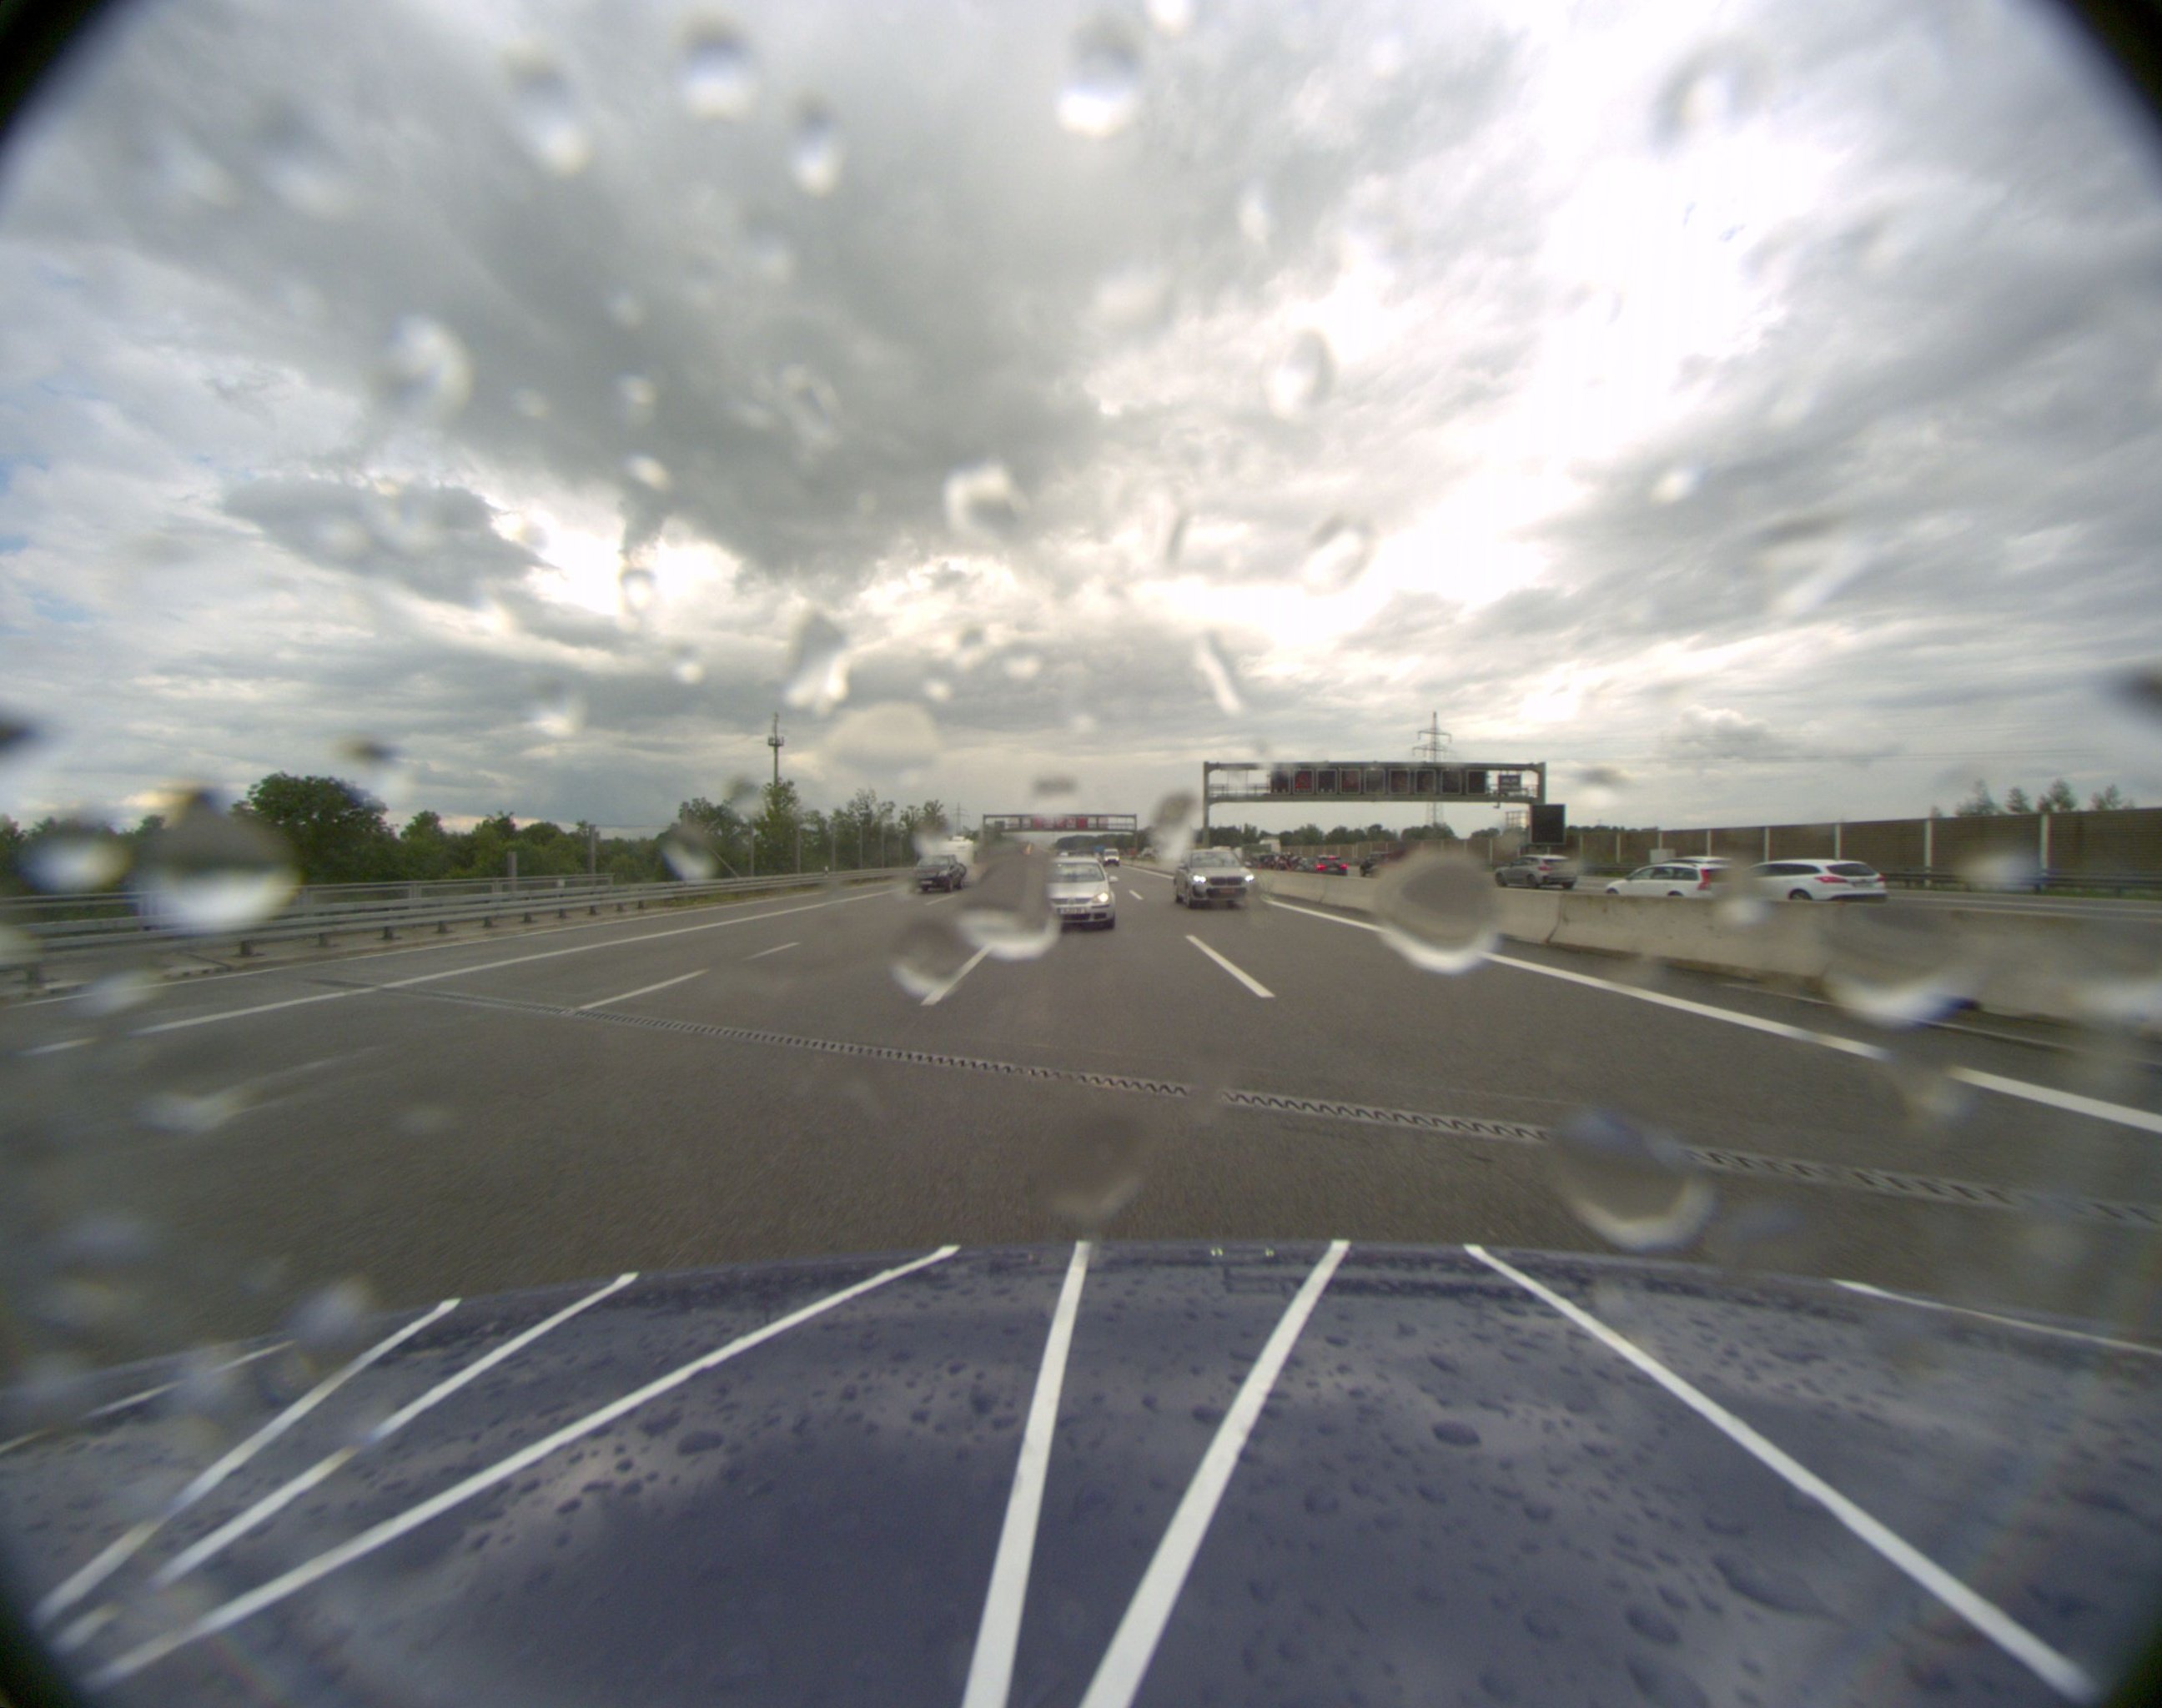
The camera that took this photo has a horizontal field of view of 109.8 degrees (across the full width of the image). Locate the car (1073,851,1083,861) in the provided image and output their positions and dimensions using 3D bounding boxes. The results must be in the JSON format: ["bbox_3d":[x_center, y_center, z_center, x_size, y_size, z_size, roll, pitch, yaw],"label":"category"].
[{"bbox_3d":[-0.636,0.511,161.108,1.999,2.002,3.999,-2,0,-1],"label":"car"}]

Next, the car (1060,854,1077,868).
[{"bbox_3d":[-1.583,0.842,96.660,1.999,1.701,3.999,-2,0,-2],"label":"car"}]

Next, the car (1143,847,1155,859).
[{"bbox_3d":[14.838,-0.195,165.738,2.141,2.338,5.711,-2,0,1],"label":"car"}]

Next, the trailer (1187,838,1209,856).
[{"bbox_3d":[26.271,-1.621,171.709,3.036,3.910,12.974,-1,0,1],"label":"trailer"}]

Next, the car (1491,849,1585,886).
[{"bbox_3d":[21.911,0.613,36.639,1.826,1.621,4.526,-1,0,0],"label":"car"}]

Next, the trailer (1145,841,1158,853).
[{"bbox_3d":[24.768,-2.522,268.119,2.908,4.091,12.697,-2,0,-1],"label":"trailer"}]

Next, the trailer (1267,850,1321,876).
[{"bbox_3d":[14.850,0.613,53.416,2.149,1.699,6.046,-1,0,1],"label":"trailer"}]

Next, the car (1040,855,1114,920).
[{"bbox_3d":[-0.117,0.777,19.748,1.683,1.437,3.999,-2,0,-1],"label":"car"}]

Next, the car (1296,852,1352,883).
[{"bbox_3d":[14.401,0.780,45.363,1.885,1.734,5.110,-1,0,2],"label":"car"}]

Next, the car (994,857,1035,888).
[{"bbox_3d":[-3.266,0.872,37.799,1.718,1.437,4.000,-2,0,-1],"label":"car"}]

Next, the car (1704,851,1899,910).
[{"bbox_3d":[21.610,0.732,23.083,1.752,1.621,4.392,-1,0,-1],"label":"car"}]

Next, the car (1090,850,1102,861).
[{"bbox_3d":[2.834,0.336,143.337,1.999,2.002,3.999,-2,0,-1],"label":"car"}]

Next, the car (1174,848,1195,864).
[{"bbox_3d":[14.507,0.263,106.472,2.236,2.224,5.513,-1,0,1],"label":"car"}]

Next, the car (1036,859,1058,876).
[{"bbox_3d":[-3.166,1.230,71.063,1.841,1.437,4.000,-2,0,-1],"label":"car"}]

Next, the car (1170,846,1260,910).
[{"bbox_3d":[3.785,0.628,22.306,1.840,1.615,4.915,-2,0,1],"label":"car"}]

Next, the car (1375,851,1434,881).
[{"bbox_3d":[18.508,0.640,43.661,1.751,1.621,4.166,-1,0,2],"label":"car"}]

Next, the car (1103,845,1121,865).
[{"bbox_3d":[4.161,0.089,101.227,1.999,2.524,4.808,-2,0,-1],"label":"car"}]

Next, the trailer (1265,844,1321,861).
[{"bbox_3d":[26.426,-0.170,95.836,2.759,1.818,16.349,-1,0,1],"label":"trailer"}]

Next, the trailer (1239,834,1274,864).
[{"bbox_3d":[18.760,-0.499,81.479,2.455,3.120,6.050,-1,0,1],"label":"trailer"}]

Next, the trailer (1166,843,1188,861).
[{"bbox_3d":[22.092,-0.497,175.992,2.893,3.938,14.297,-2,0,-1],"label":"trailer"}]

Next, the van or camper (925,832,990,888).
[{"bbox_3d":[-6.606,0.298,41.643,2.390,2.722,7.208,-2,0,-1],"label":"van or camper"}]

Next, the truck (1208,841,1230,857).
[{"bbox_3d":[25.131,-0.905,138.517,2.698,2.797,7.834,-1,0,1],"label":"truck"}]

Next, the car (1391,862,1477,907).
[{"bbox_3d":[14.106,1.172,30.575,1.752,1.621,3.748,-1,0,1],"label":"car"}]

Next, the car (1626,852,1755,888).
[{"bbox_3d":[26.268,0.651,32.965,1.869,1.392,4.573,-1,0,-1],"label":"car"}]

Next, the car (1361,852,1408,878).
[{"bbox_3d":[22.019,0.771,55.281,1.752,1.837,4.165,-1,0,0],"label":"car"}]

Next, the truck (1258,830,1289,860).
[{"bbox_3d":[26.525,-1.212,104.682,2.759,3.864,6.050,-1,0,1],"label":"truck"}]

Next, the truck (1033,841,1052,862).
[{"bbox_3d":[-7.071,-0.448,140.702,2.870,3.632,9.593,-2,0,-1],"label":"truck"}]

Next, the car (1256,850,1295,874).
[{"bbox_3d":[14.990,0.588,58.846,1.821,1.699,4.806,-1,0,1],"label":"car"}]

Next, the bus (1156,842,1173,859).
[{"bbox_3d":[18.623,-0.742,169.393,2.660,3.658,10.634,-1,0,1],"label":"bus"}]

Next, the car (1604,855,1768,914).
[{"bbox_3d":[18.092,0.840,23.012,1.751,1.621,4.166,-1,0,2],"label":"car"}]

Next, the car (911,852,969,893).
[{"bbox_3d":[-6.556,0.812,35.784,1.925,1.765,4.502,-2,0,-1],"label":"car"}]
